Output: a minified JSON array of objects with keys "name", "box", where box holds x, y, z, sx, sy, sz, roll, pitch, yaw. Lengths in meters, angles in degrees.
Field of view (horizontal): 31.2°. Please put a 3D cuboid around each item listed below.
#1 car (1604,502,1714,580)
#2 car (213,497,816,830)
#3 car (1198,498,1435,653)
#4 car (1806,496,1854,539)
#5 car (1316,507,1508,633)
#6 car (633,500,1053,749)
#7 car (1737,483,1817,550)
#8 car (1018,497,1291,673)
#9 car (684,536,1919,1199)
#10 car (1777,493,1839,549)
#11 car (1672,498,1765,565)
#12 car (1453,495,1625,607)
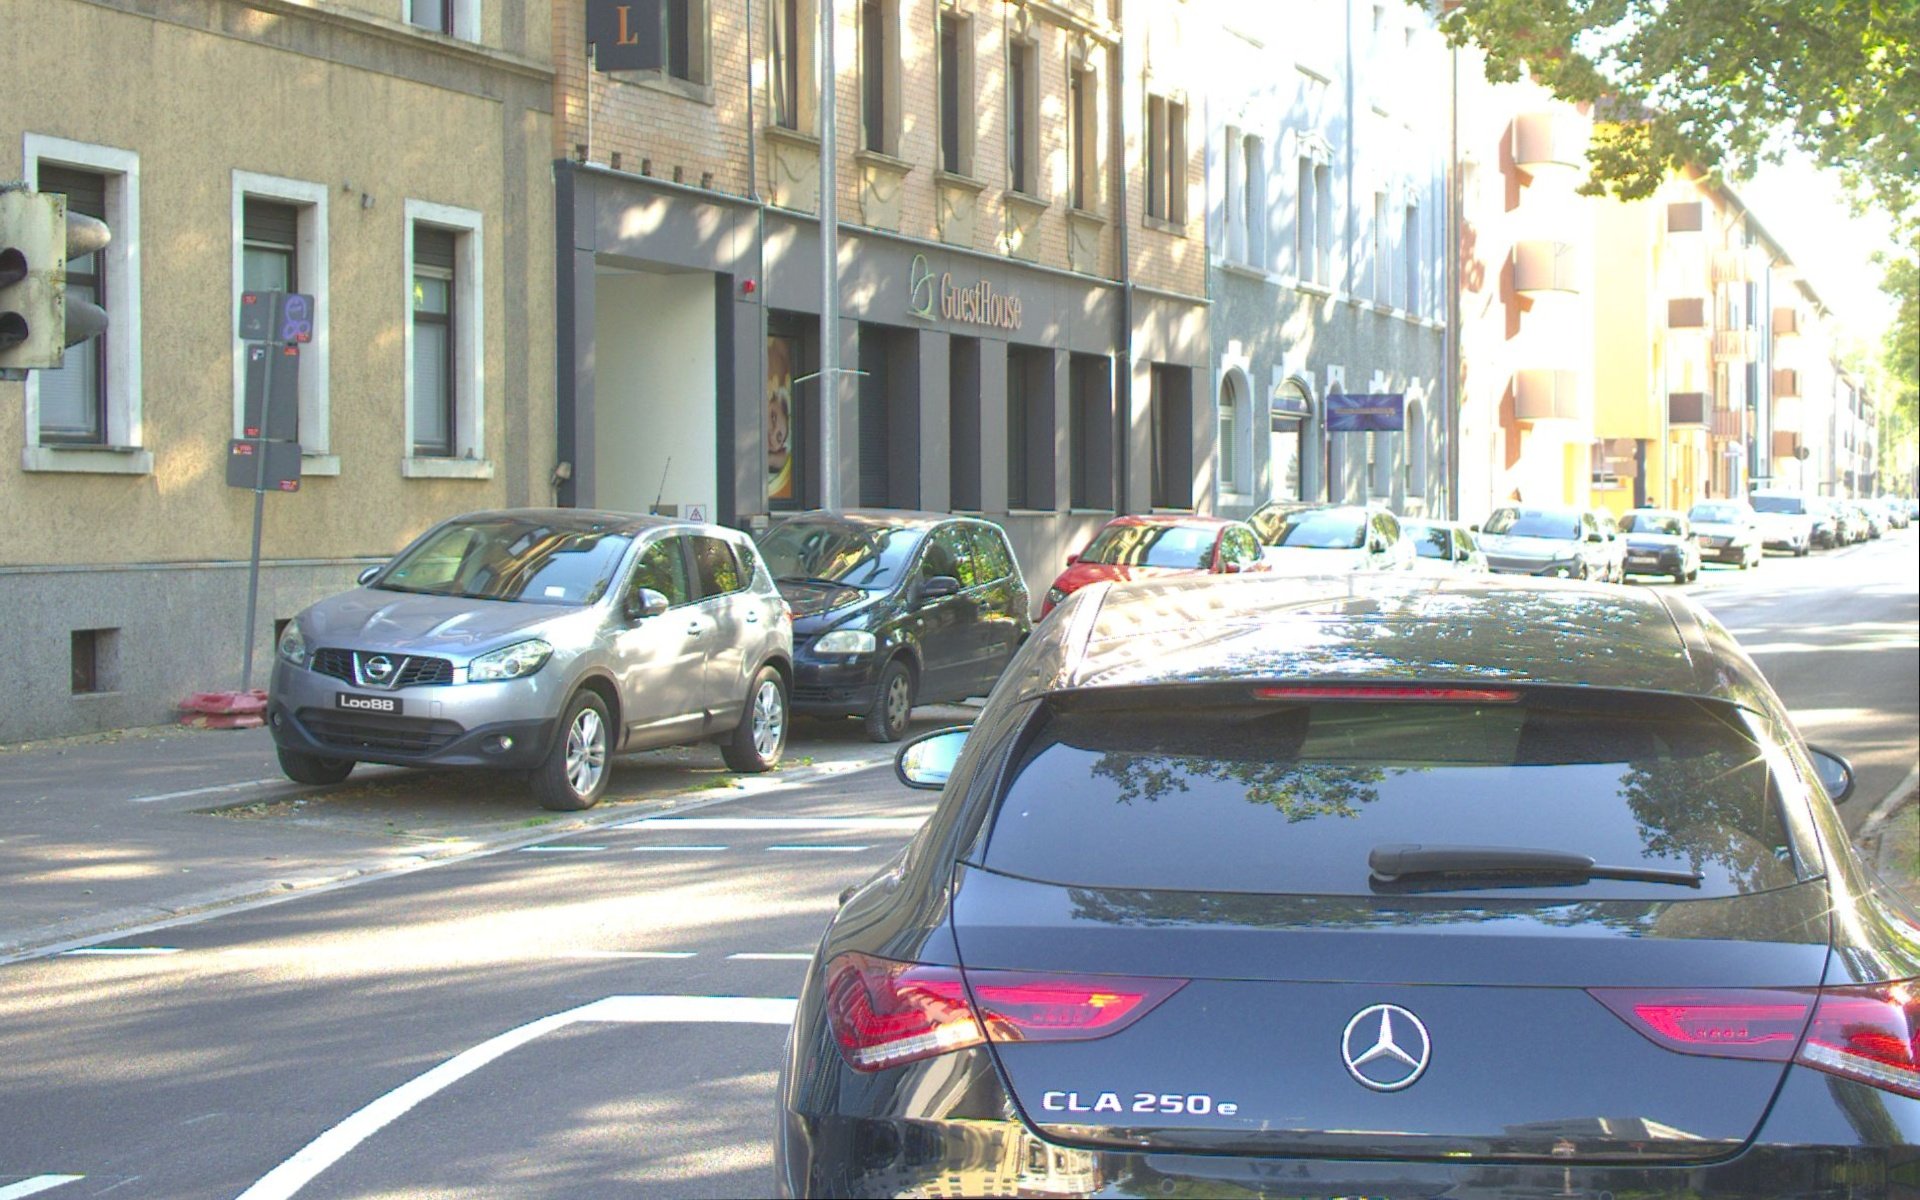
[{"name":"car","box":[14.157,-1.217,69.503,1.679,1.481,3.598,2,2,19]},{"name":"car","box":[-2.446,0.262,19.984,1.783,1.667,4.152,2,2,19]},{"name":"car","box":[4.040,-0.323,38.444,1.679,1.579,4.196,2,2,19]},{"name":"car","box":[32.240,-3.074,127.334,1.549,1.518,4.002,2,2,16]},{"name":"car","box":[5.908,-0.427,44.614,1.679,1.491,3.868,2,2,19]},{"name":"car","box":[-0.757,0.103,24.781,1.679,1.599,3.701,2,2,21]},{"name":"car","box":[24.086,-2.481,101.239,1.736,1.900,5.204,1,2,19]},{"name":"car","box":[1.973,-0.199,33.802,1.679,1.586,3.753,2,2,19]},{"name":"car","box":[0.764,0.661,6.204,1.745,1.438,3.968,2,2,7]},{"name":"car","box":[28.100,-2.644,113.856,1.746,1.781,4.546,2,2,16]},{"name":"car","box":[18.108,-1.650,81.988,1.679,1.518,4.017,2,2,19]},{"name":"car","box":[9.195,-0.817,54.345,1.910,1.636,4.573,2,2,19]}]
